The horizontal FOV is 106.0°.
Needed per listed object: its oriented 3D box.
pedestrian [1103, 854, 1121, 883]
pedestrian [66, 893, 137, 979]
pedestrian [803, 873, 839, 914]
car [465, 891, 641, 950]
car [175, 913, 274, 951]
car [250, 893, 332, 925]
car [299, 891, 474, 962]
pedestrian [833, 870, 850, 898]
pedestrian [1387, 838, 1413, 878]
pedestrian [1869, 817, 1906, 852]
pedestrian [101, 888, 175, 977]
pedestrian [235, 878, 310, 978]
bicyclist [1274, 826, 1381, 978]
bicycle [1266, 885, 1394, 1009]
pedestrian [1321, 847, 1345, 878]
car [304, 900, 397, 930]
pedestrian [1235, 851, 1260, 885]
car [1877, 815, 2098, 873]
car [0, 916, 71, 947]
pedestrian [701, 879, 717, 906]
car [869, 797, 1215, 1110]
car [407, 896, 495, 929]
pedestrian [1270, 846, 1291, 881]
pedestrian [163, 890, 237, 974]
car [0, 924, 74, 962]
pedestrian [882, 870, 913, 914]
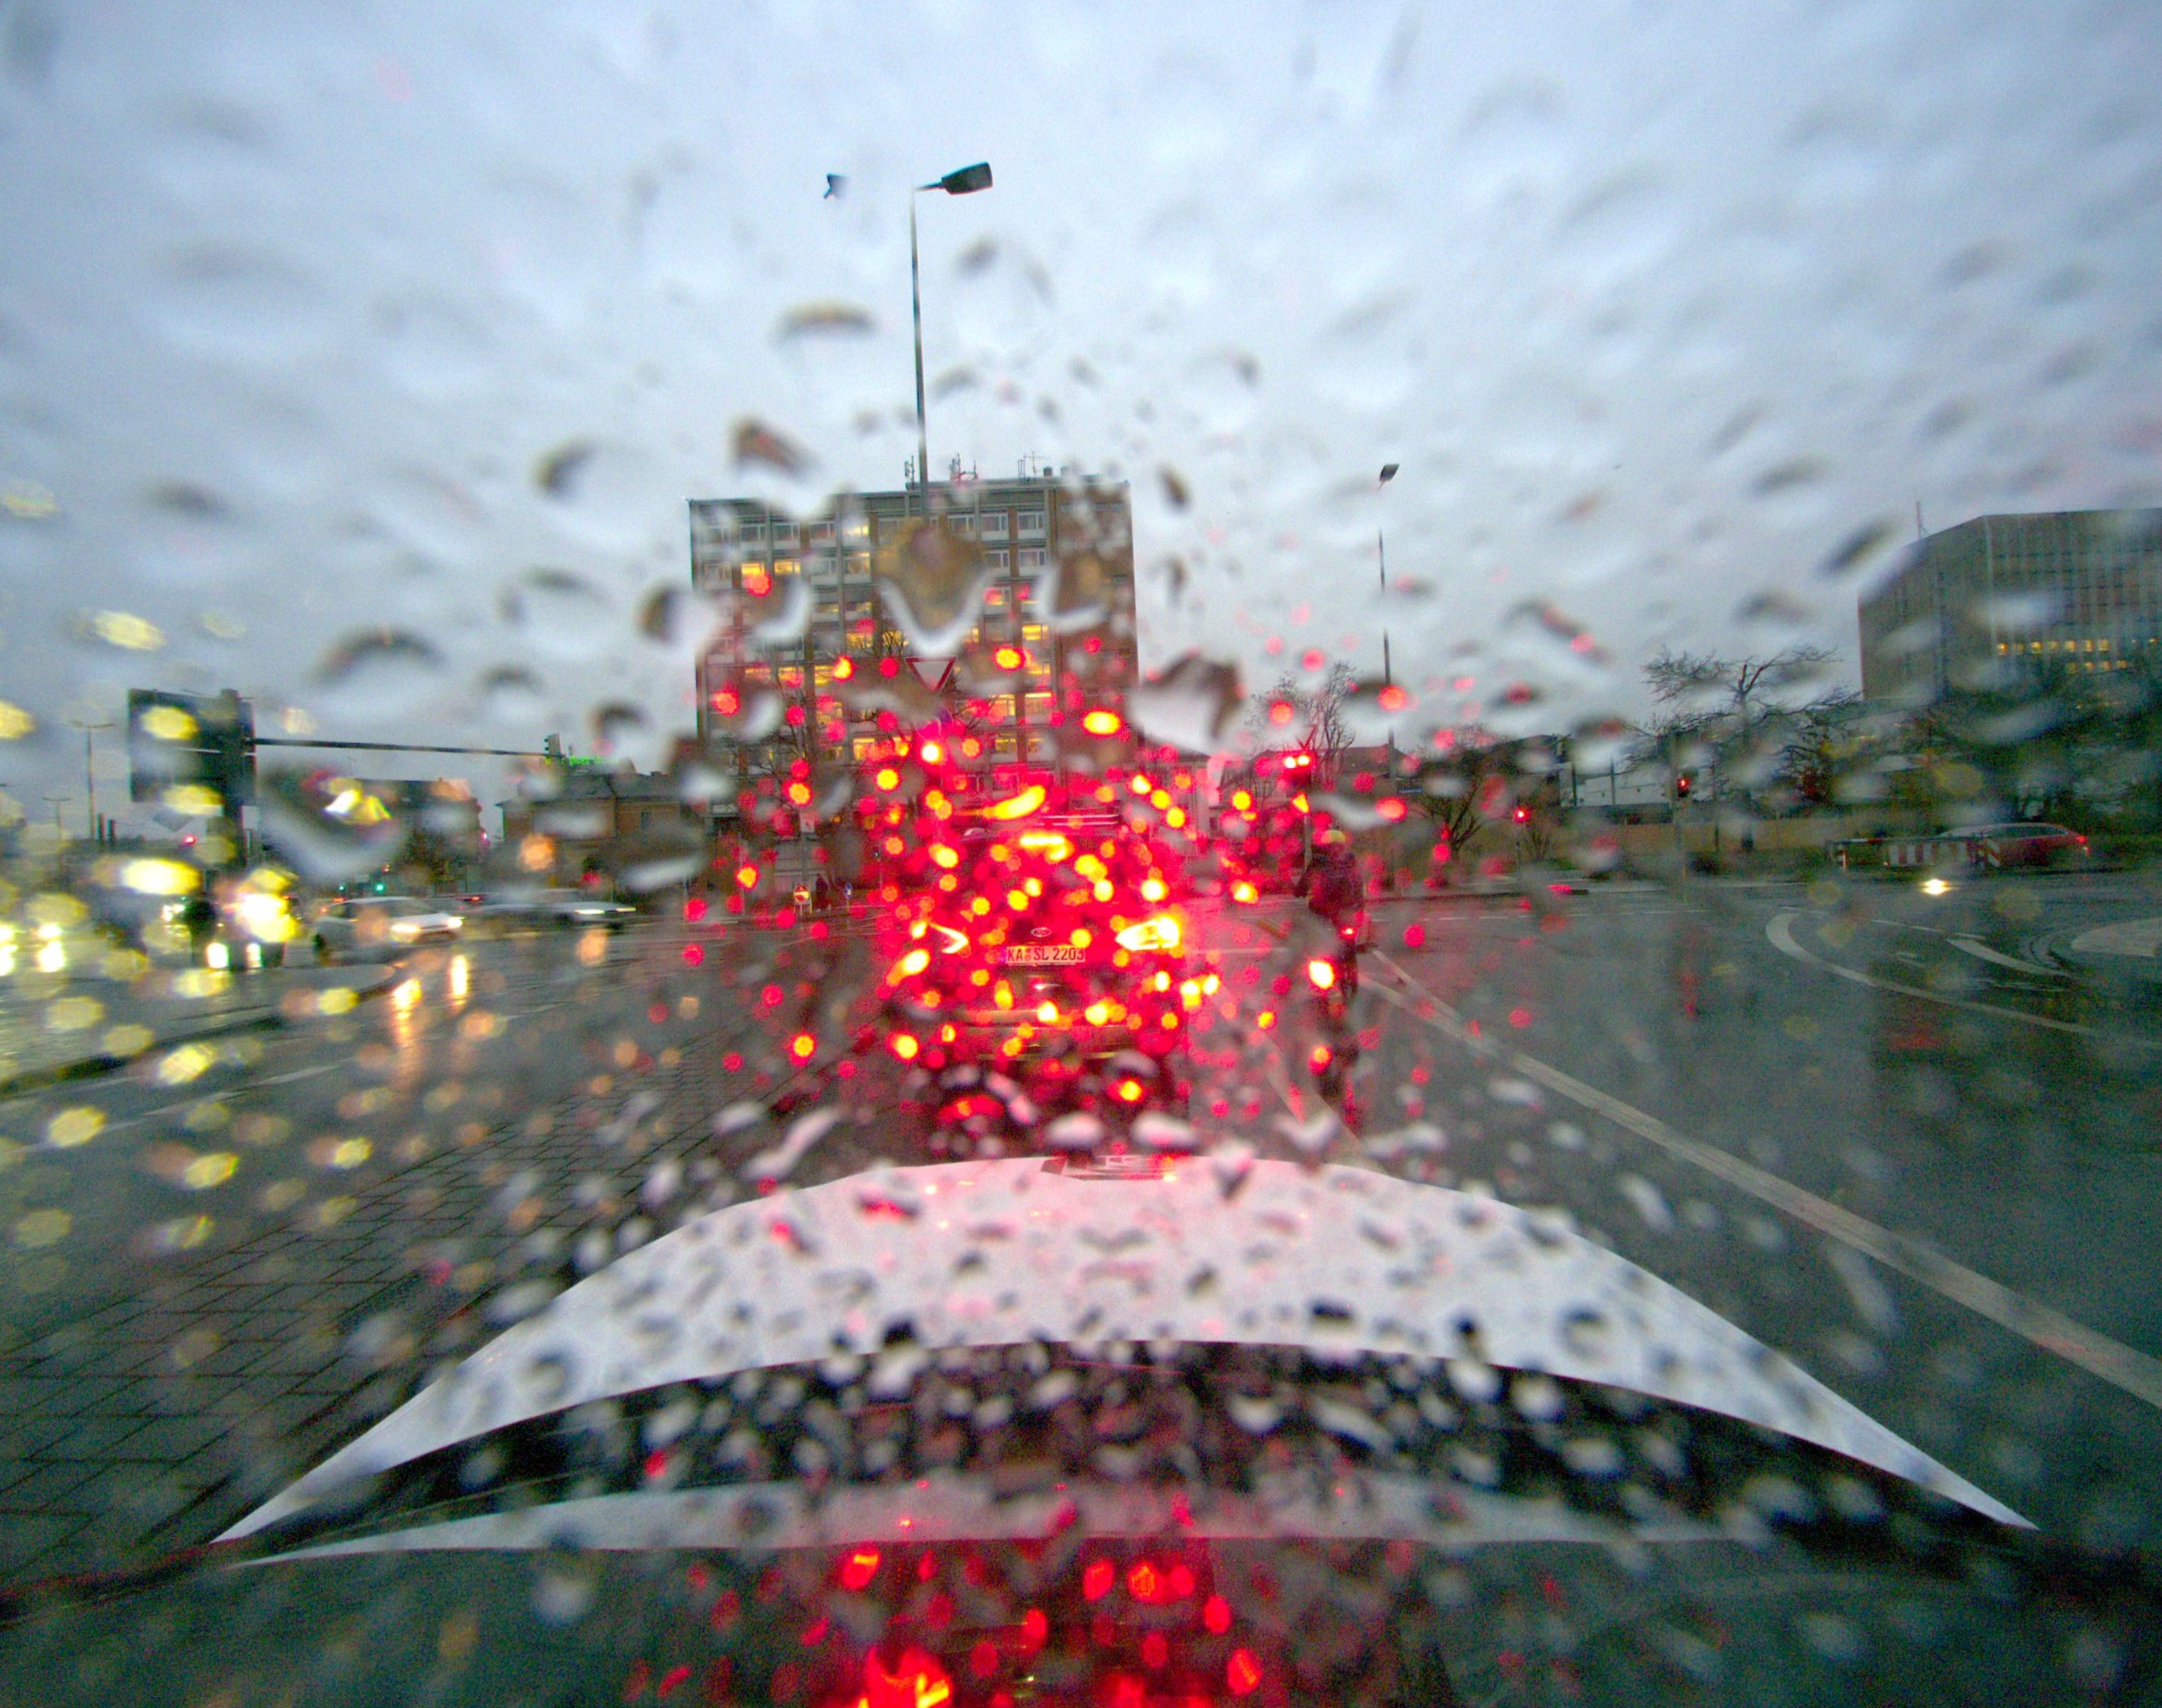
[{"bbox_3d":[1.772,0.841,47.038,0.762,1.628,0.717,-3,0,-18],"label":"pedestrian"},{"bbox_3d":[-21.488,1.781,17.881,0.741,1.770,0.546,-3,0,-12],"label":"pedestrian"},{"bbox_3d":[-12.404,1.884,38.843,0.991,1.842,1.146,-3,2,30],"label":"pedestrian"},{"bbox_3d":[-16.316,2.046,25.214,4.647,1.552,1.947,-3,-1,16],"label":"car"},{"bbox_3d":[-38.145,3.468,36.270,3.919,1.477,1.821,-3,-1,24],"label":"car"},{"bbox_3d":[-51.158,3.534,52.782,1.649,1.826,3.609,-1,-1,39],"label":"car"},{"bbox_3d":[-17.634,1.833,20.690,3.670,1.448,1.754,-5,-1,21],"label":"car"},{"bbox_3d":[-14.766,1.839,50.240,0.753,1.628,0.560,-3,0,16],"label":"pedestrian"},{"bbox_3d":[17.248,0.212,44.042,0.882,2.113,0.894,-3,0,-7],"label":"pedestrian"},{"bbox_3d":[38.919,-0.936,39.310,0.956,1.603,0.796,-3,0,9],"label":"pedestrian"},{"bbox_3d":[-20.789,1.711,17.973,0.733,1.838,0.674,-3,0,-11],"label":"pedestrian"},{"bbox_3d":[-17.320,1.553,17.472,0.996,2.021,0.792,-3,0,-39],"label":"pedestrian"},{"bbox_3d":[2.499,0.465,8.382,0.780,1.453,1.134,0,-1,2],"label":"bicyclist"},{"bbox_3d":[2.520,0.895,8.492,0.780,1.075,1.958,0,-1,2],"label":"bicycle"},{"bbox_3d":[13.019,0.454,42.080,0.920,1.533,1.044,-3,0,6],"label":"pedestrian"},{"bbox_3d":[-43.820,3.624,48.928,1.582,1.482,3.840,-1,-1,31],"label":"car"},{"bbox_3d":[8.704,0.716,42.564,1.127,1.720,0.984,-3,0,12],"label":"pedestrian"},{"bbox_3d":[27.552,-0.265,24.895,4.390,1.477,1.814,-3,-1,6],"label":"car"},{"bbox_3d":[-57.444,4.233,44.321,4.615,1.477,1.821,-3,-1,22],"label":"car"},{"bbox_3d":[-24.621,2.554,53.909,0.634,1.688,0.640,-3,0,18],"label":"pedestrian"},{"bbox_3d":[-0.165,0.590,6.694,1.986,1.789,4.001,0,-1,2],"label":"car"},{"bbox_3d":[-33.328,3.057,43.085,3.954,1.568,1.836,-1,-1,20],"label":"car"},{"bbox_3d":[10.709,0.516,43.729,0.990,1.799,0.922,-3,0,11],"label":"pedestrian"},{"bbox_3d":[-19.544,1.707,18.082,0.653,1.755,0.856,-3,0,18],"label":"pedestrian"},{"bbox_3d":[-47.681,3.985,36.464,4.539,1.477,1.820,-3,-1,20],"label":"car"},{"bbox_3d":[-8.731,1.815,38.846,0.918,1.978,0.966,-3,0,28],"label":"pedestrian"}]
